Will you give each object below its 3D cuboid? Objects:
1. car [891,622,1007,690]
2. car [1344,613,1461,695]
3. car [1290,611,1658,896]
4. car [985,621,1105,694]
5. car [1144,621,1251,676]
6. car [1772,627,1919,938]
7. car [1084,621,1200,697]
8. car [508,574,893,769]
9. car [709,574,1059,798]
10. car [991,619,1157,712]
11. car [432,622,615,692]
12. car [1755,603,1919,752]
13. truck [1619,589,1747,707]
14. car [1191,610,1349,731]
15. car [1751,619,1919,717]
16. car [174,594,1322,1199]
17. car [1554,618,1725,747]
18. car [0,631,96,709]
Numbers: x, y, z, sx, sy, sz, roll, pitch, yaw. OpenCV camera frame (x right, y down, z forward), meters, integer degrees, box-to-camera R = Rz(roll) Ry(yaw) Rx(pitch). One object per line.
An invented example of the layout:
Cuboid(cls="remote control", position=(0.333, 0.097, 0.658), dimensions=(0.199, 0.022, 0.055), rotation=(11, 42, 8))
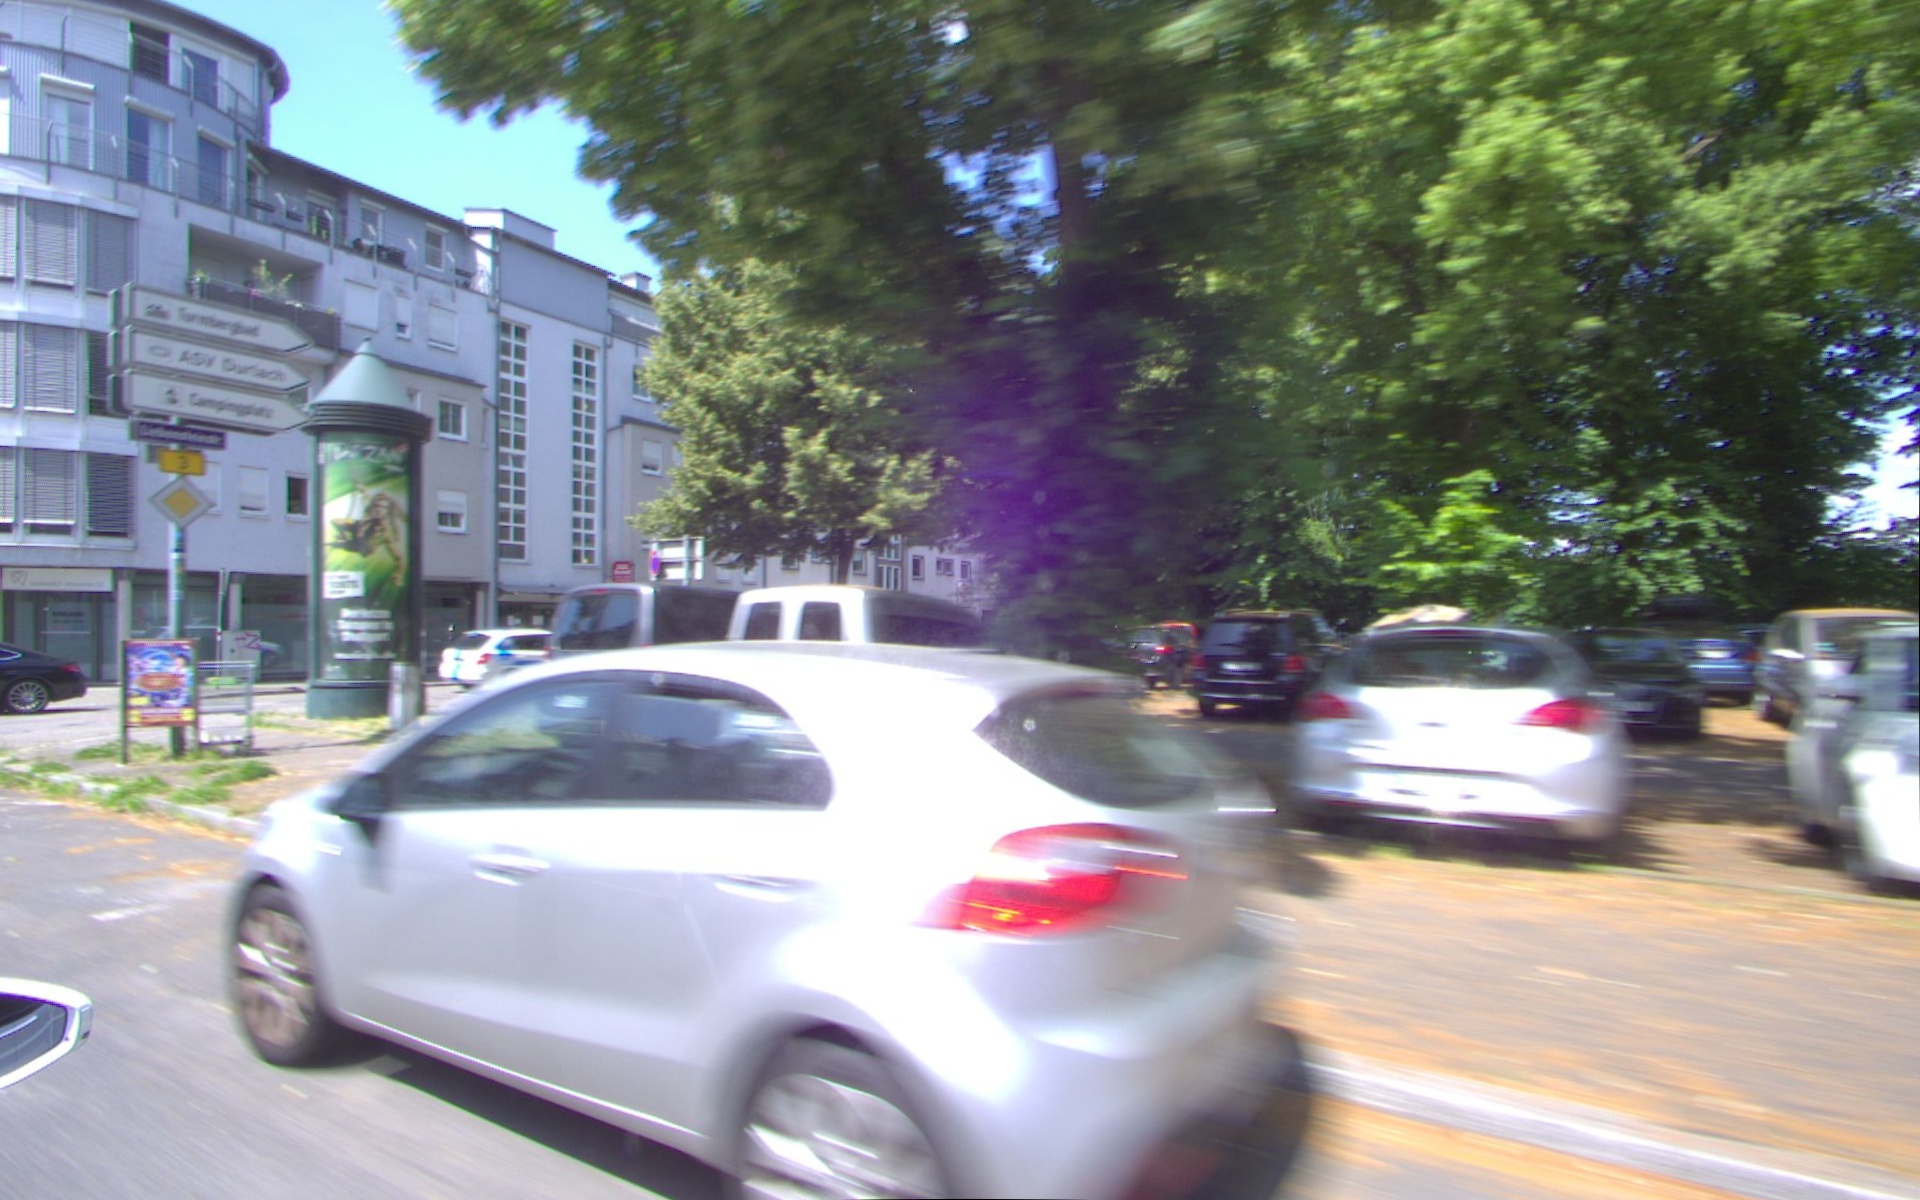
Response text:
Cuboid(cls="car", position=(-0.232, 1.359, 25.094), dimensions=(1.567, 1.574, 3.058), rotation=(-1, -1, 30))
Cuboid(cls="car", position=(8.961, 1.028, 20.125), dimensions=(1.712, 1.478, 3.792), rotation=(-1, -1, 31))
Cuboid(cls="car", position=(3.718, 0.865, 7.182), dimensions=(1.781, 1.415, 3.983), rotation=(-1, -3, 30))
Cuboid(cls="car", position=(2.097, 1.312, 23.878), dimensions=(1.567, 1.574, 3.376), rotation=(-1, -1, 30))
Cuboid(cls="car", position=(7.749, 1.559, 32.515), dimensions=(1.701, 1.688, 3.769), rotation=(-2, -3, 44))
Cuboid(cls="car", position=(6.213, 0.893, 5.999), dimensions=(1.645, 1.446, 3.979), rotation=(-1, -1, 33))
Cuboid(cls="car", position=(4.229, 1.282, 22.887), dimensions=(1.567, 1.574, 3.376), rotation=(-1, -1, 30))
Cuboid(cls="car", position=(-2.706, 0.708, 11.316), dimensions=(1.987, 1.773, 3.981), rotation=(0, -2, 31))
Cuboid(cls="car", position=(-0.504, 0.706, 9.618), dimensions=(1.638, 1.688, 3.762), rotation=(0, -1, 28))
Cuboid(cls="car", position=(2.265, 1.151, 18.951), dimensions=(1.656, 1.548, 3.982), rotation=(-1, -1, 30))
Cuboid(cls="car", position=(-10.646, 1.377, 24.716), dimensions=(1.547, 1.574, 3.983), rotation=(-1, -3, 31))
Cuboid(cls="car", position=(11.696, 0.895, 12.924), dimensions=(1.656, 1.662, 3.982), rotation=(-1, -1, 30))
Cuboid(cls="truck", position=(12.986, 0.818, 18.156), dimensions=(1.714, 1.906, 3.789), rotation=(-1, -1, 34))
Cuboid(cls="car", position=(5.122, 1.030, 16.203), dimensions=(1.676, 1.700, 3.983), rotation=(-1, -1, 29))
Cuboid(cls="car", position=(14.971, 1.072, 17.114), dimensions=(1.712, 1.478, 3.793), rotation=(-1, -1, 30))
Cuboid(cls="car", position=(-0.907, 0.813, 3.532), dimensions=(3.836, 1.504, 1.764), rotation=(-1, -3, 33))
Cuboid(cls="car", position=(9.248, 1.018, 13.902), dimensions=(1.656, 1.502, 3.982), rotation=(-1, -1, 30))
Cuboid(cls="car", position=(-18.489, 1.230, 17.618), dimensions=(1.970, 1.382, 4.577), rotation=(0, -2, 30))
